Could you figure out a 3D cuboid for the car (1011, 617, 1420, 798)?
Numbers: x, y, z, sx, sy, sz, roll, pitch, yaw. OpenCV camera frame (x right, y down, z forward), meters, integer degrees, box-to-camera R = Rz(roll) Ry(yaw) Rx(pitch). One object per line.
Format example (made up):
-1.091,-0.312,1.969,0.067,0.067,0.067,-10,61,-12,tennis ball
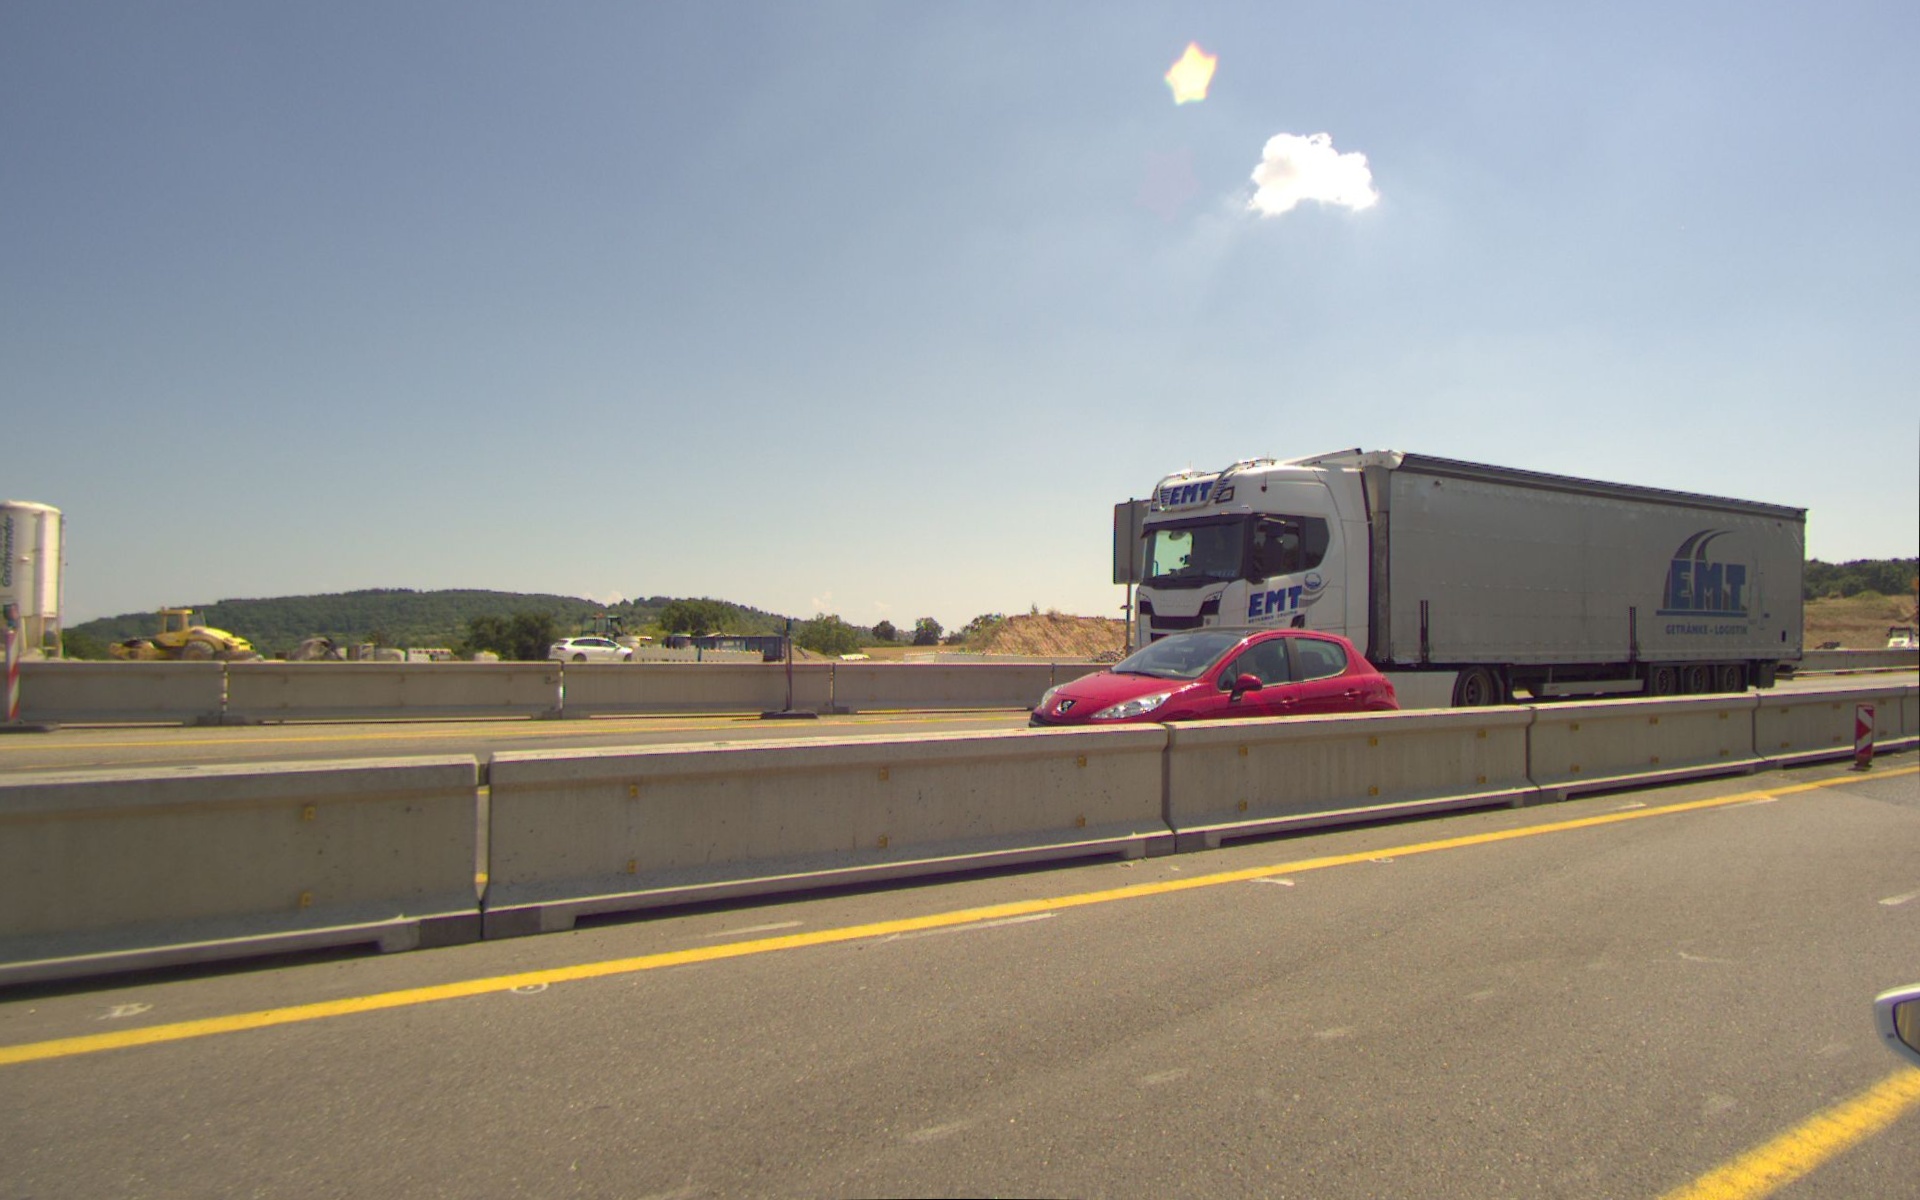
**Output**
2.595,0.946,10.023,3.922,1.495,1.661,1,-2,-29,car

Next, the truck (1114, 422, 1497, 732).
5.425,-0.234,15.786,5.429,4.115,2.693,1,-2,-27,truck

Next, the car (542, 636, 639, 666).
-18.829,2.569,51.273,4.409,1.427,1.598,2,-2,-40,car

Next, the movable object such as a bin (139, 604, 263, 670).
-37.735,1.820,50.042,4.408,3.182,1.995,1,-1,-13,movable object such as a bin

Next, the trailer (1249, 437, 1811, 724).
11.530,-0.132,19.229,13.811,4.168,2.748,1,-2,-30,trailer

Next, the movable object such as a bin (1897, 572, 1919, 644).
107.289,0.829,109.037,3.411,7.815,7.588,1,-2,-35,movable object such as a bin

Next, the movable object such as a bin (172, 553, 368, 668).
-20.012,0.344,29.325,4.203,3.182,1.995,1,-1,-13,movable object such as a bin
